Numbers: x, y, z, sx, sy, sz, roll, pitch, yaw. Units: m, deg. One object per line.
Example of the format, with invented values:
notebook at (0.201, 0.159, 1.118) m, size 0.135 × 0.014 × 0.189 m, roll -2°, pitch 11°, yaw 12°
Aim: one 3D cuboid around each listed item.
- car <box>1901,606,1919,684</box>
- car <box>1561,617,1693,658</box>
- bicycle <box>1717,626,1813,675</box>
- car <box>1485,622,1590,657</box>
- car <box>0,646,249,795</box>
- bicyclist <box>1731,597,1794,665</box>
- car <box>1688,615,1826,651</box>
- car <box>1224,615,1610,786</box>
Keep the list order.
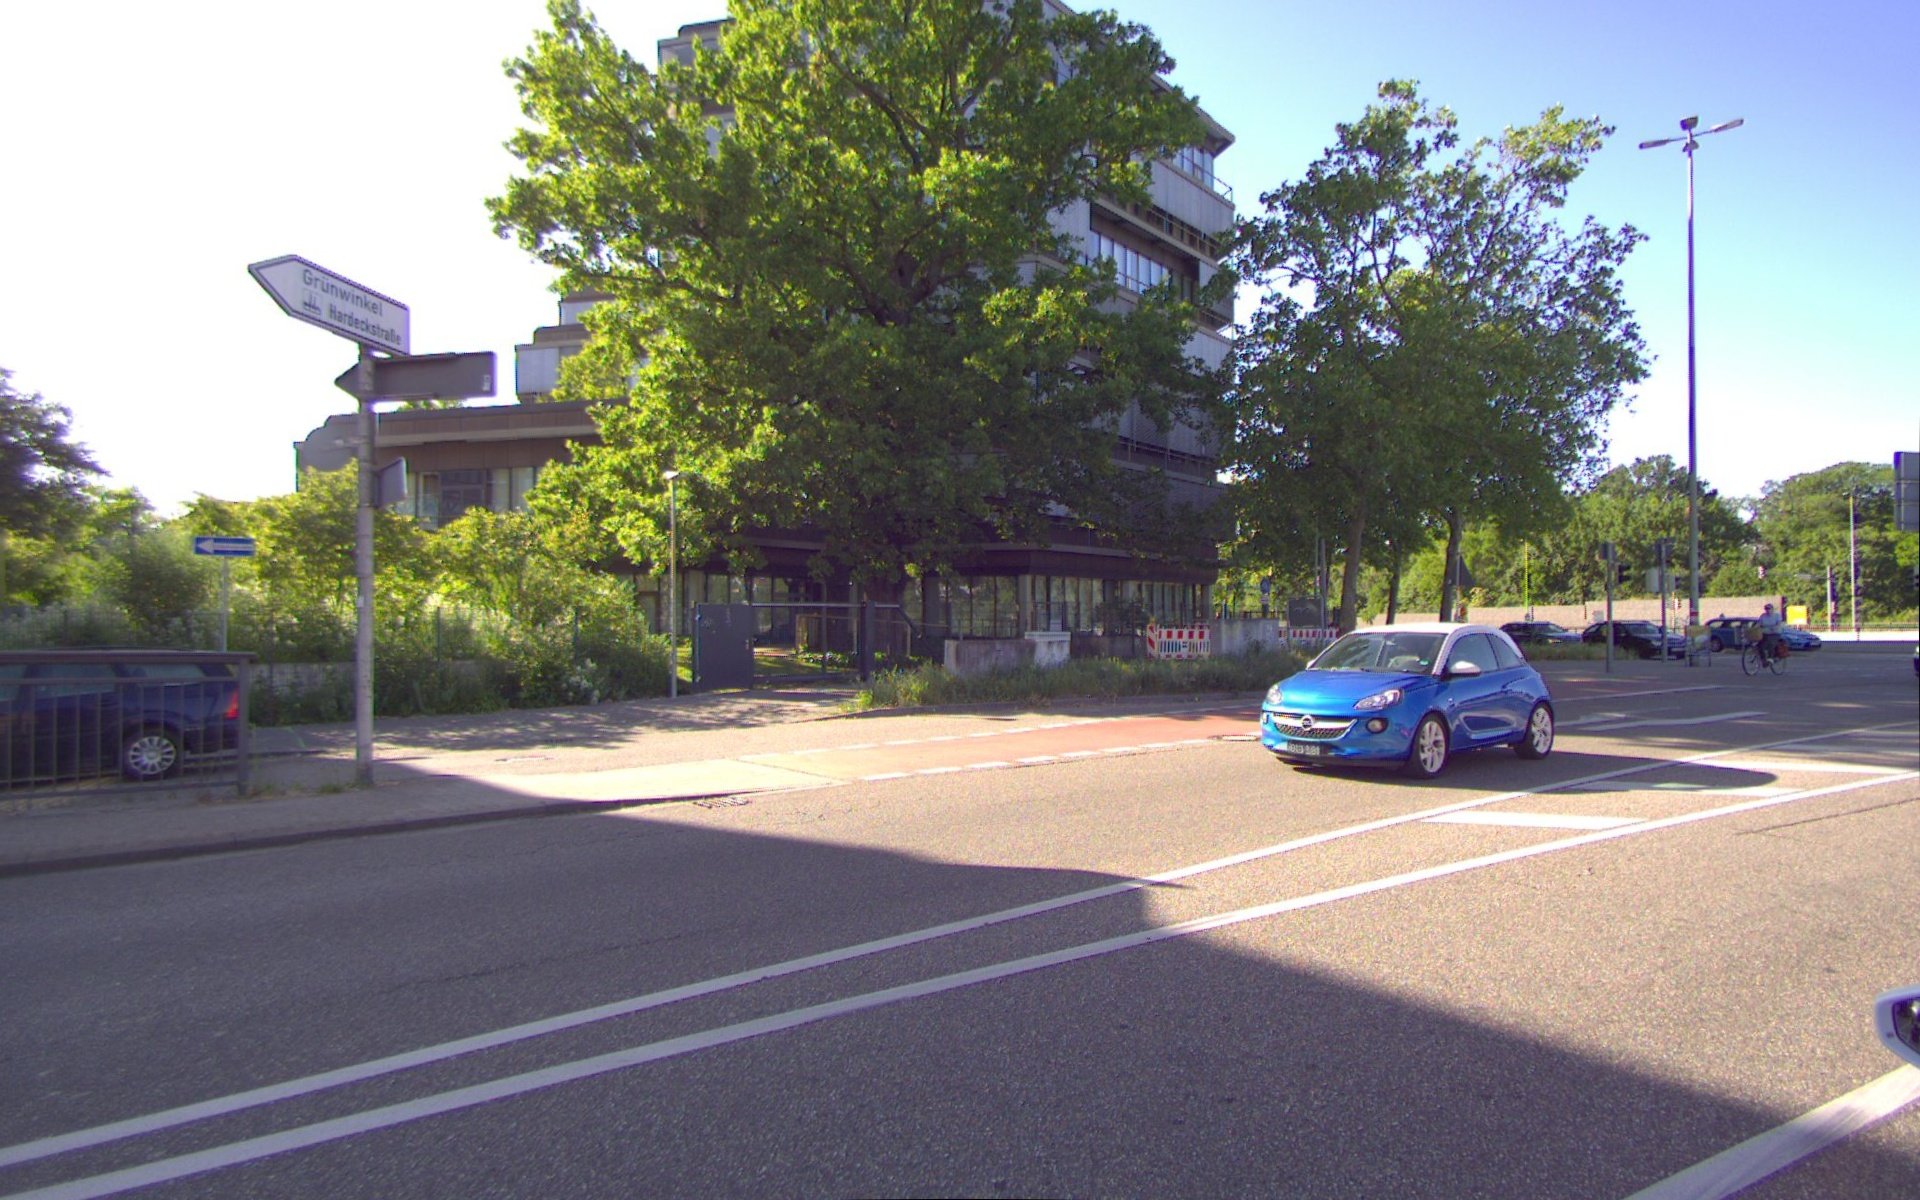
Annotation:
car at (22.813, 0.963, 21.962) m, size 4.569 × 1.675 × 1.827 m, roll 0°, pitch -2°, yaw -27°
car at (25.631, 1.427, 38.821) m, size 1.792 × 1.457 × 4.446 m, roll 0°, pitch -2°, yaw -7°
bicycle at (20.848, 1.298, 26.015) m, size 2.287 × 1.218 × 0.687 m, roll 0°, pitch -1°, yaw -14°
car at (25.926, 1.748, 45.302) m, size 1.792 × 1.457 × 4.446 m, roll 0°, pitch -2°, yaw -7°
car at (-10.726, 1.319, 11.277) m, size 4.411 × 1.523 × 1.806 m, roll 1°, pitch -2°, yaw -38°
bicyclist at (20.768, 0.796, 26.006) m, size 1.177 × 1.724 × 0.687 m, roll 0°, pitch -1°, yaw -14°
car at (34.306, 1.413, 43.410) m, size 1.797 × 1.457 × 4.434 m, roll 0°, pitch -2°, yaw -18°
car at (5.083, 0.943, 10.979) m, size 4.404 × 1.523 × 1.809 m, roll 1°, pitch -2°, yaw -34°
